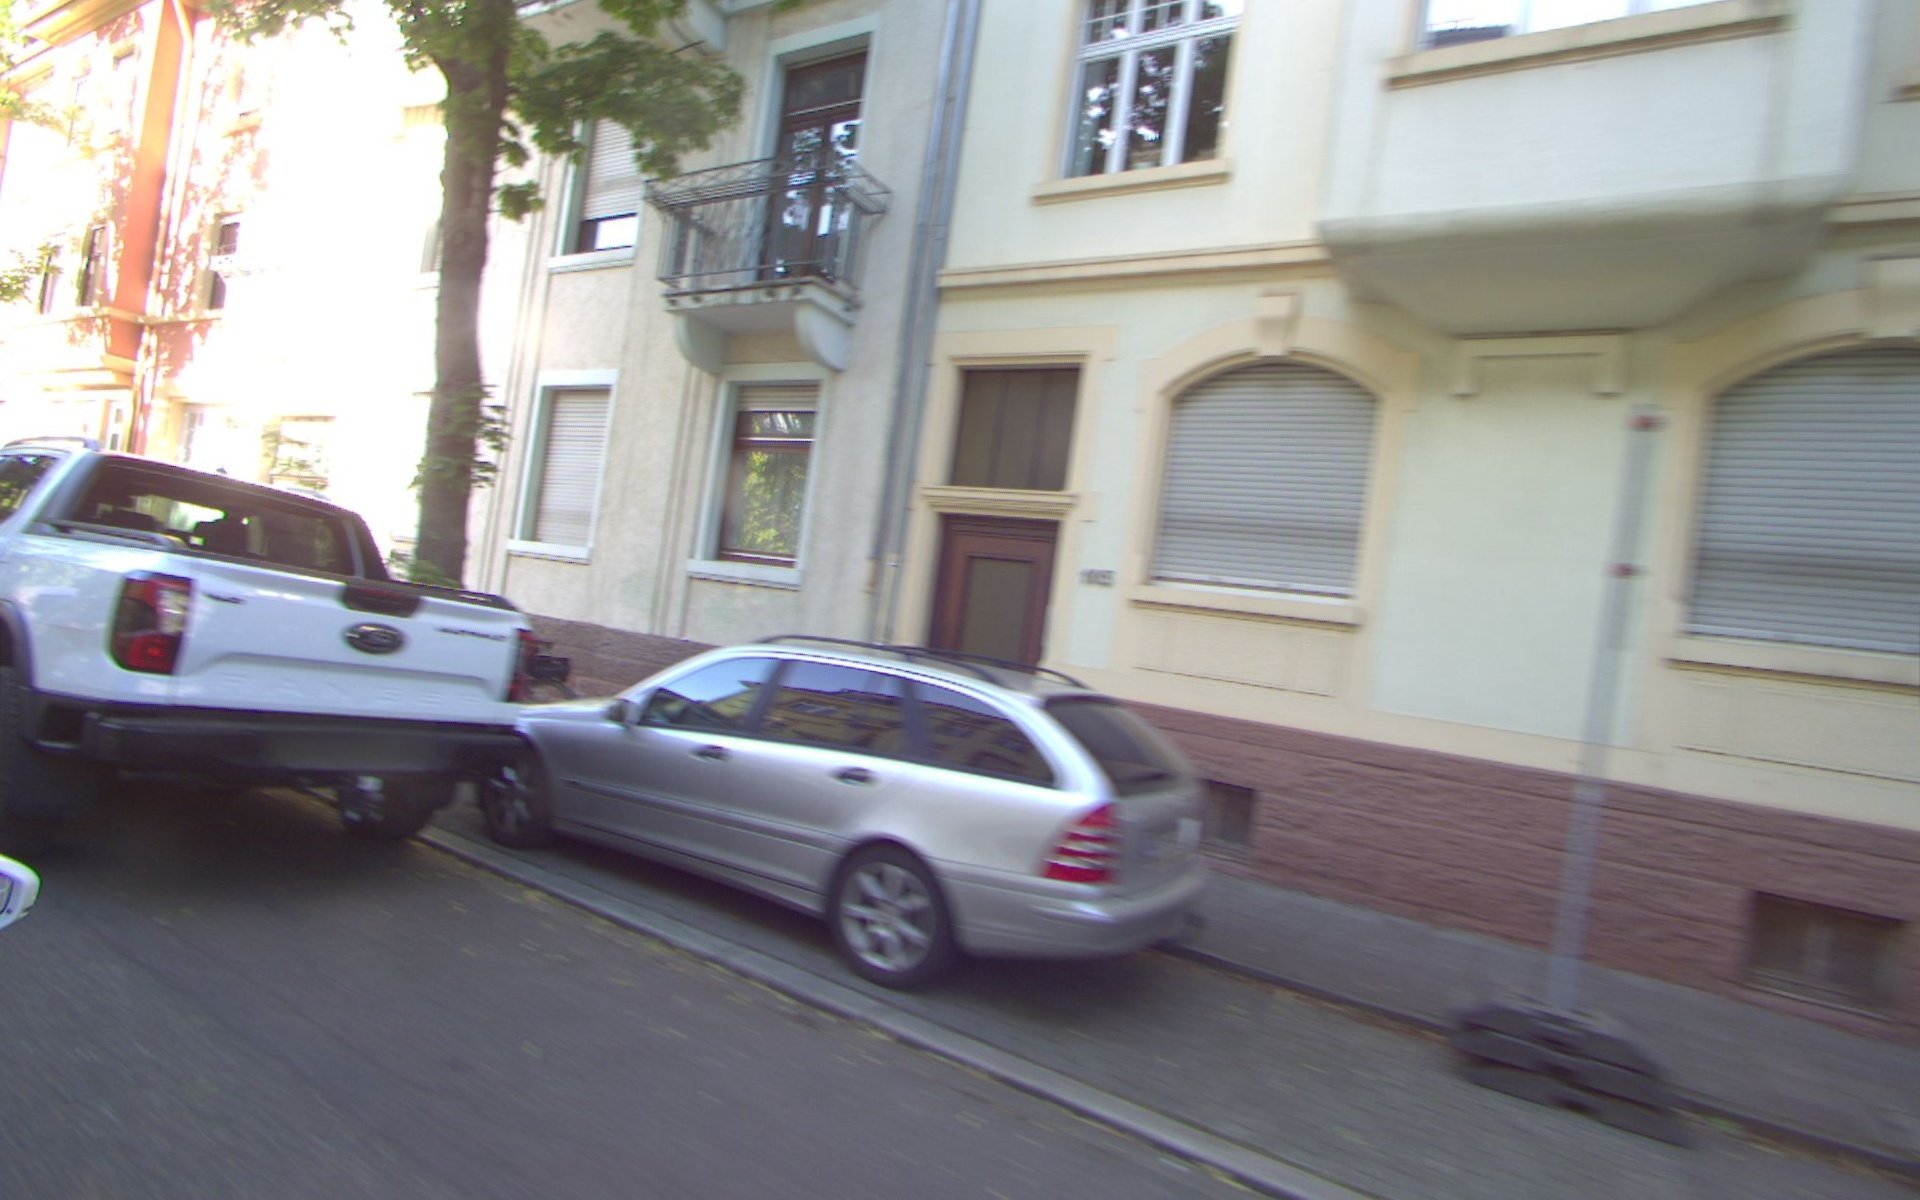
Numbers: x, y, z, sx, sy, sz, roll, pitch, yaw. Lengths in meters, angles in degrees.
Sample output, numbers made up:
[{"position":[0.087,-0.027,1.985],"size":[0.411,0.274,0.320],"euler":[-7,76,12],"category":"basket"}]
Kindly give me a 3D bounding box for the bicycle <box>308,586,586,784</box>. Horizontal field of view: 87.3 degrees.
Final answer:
[{"position":[-3.919,0.686,7.856],"size":[0.576,1.319,1.764],"euler":[7,-3,30],"category":"bicycle"}]

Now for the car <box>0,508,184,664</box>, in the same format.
[{"position":[-11.645,-0.324,12.378],"size":[4.703,1.547,1.754],"euler":[6,-2,33],"category":"car"}]

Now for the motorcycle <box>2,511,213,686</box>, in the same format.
[{"position":[-8.783,-0.032,10.342],"size":[2.103,1.502,0.932],"euler":[7,-3,33],"category":"motorcycle"}]

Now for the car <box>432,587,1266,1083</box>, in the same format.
[{"position":[-0.791,0.929,5.575],"size":[4.356,1.439,1.683],"euler":[7,-1,32],"category":"car"}]

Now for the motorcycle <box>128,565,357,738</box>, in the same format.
[{"position":[-6.074,0.436,8.666],"size":[0.690,1.254,1.764],"euler":[8,-3,-7],"category":"motorcycle"}]

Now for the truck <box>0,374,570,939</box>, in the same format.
[{"position":[-4.861,0.038,5.715],"size":[5.449,1.970,1.833],"euler":[7,-3,32],"category":"truck"}]
